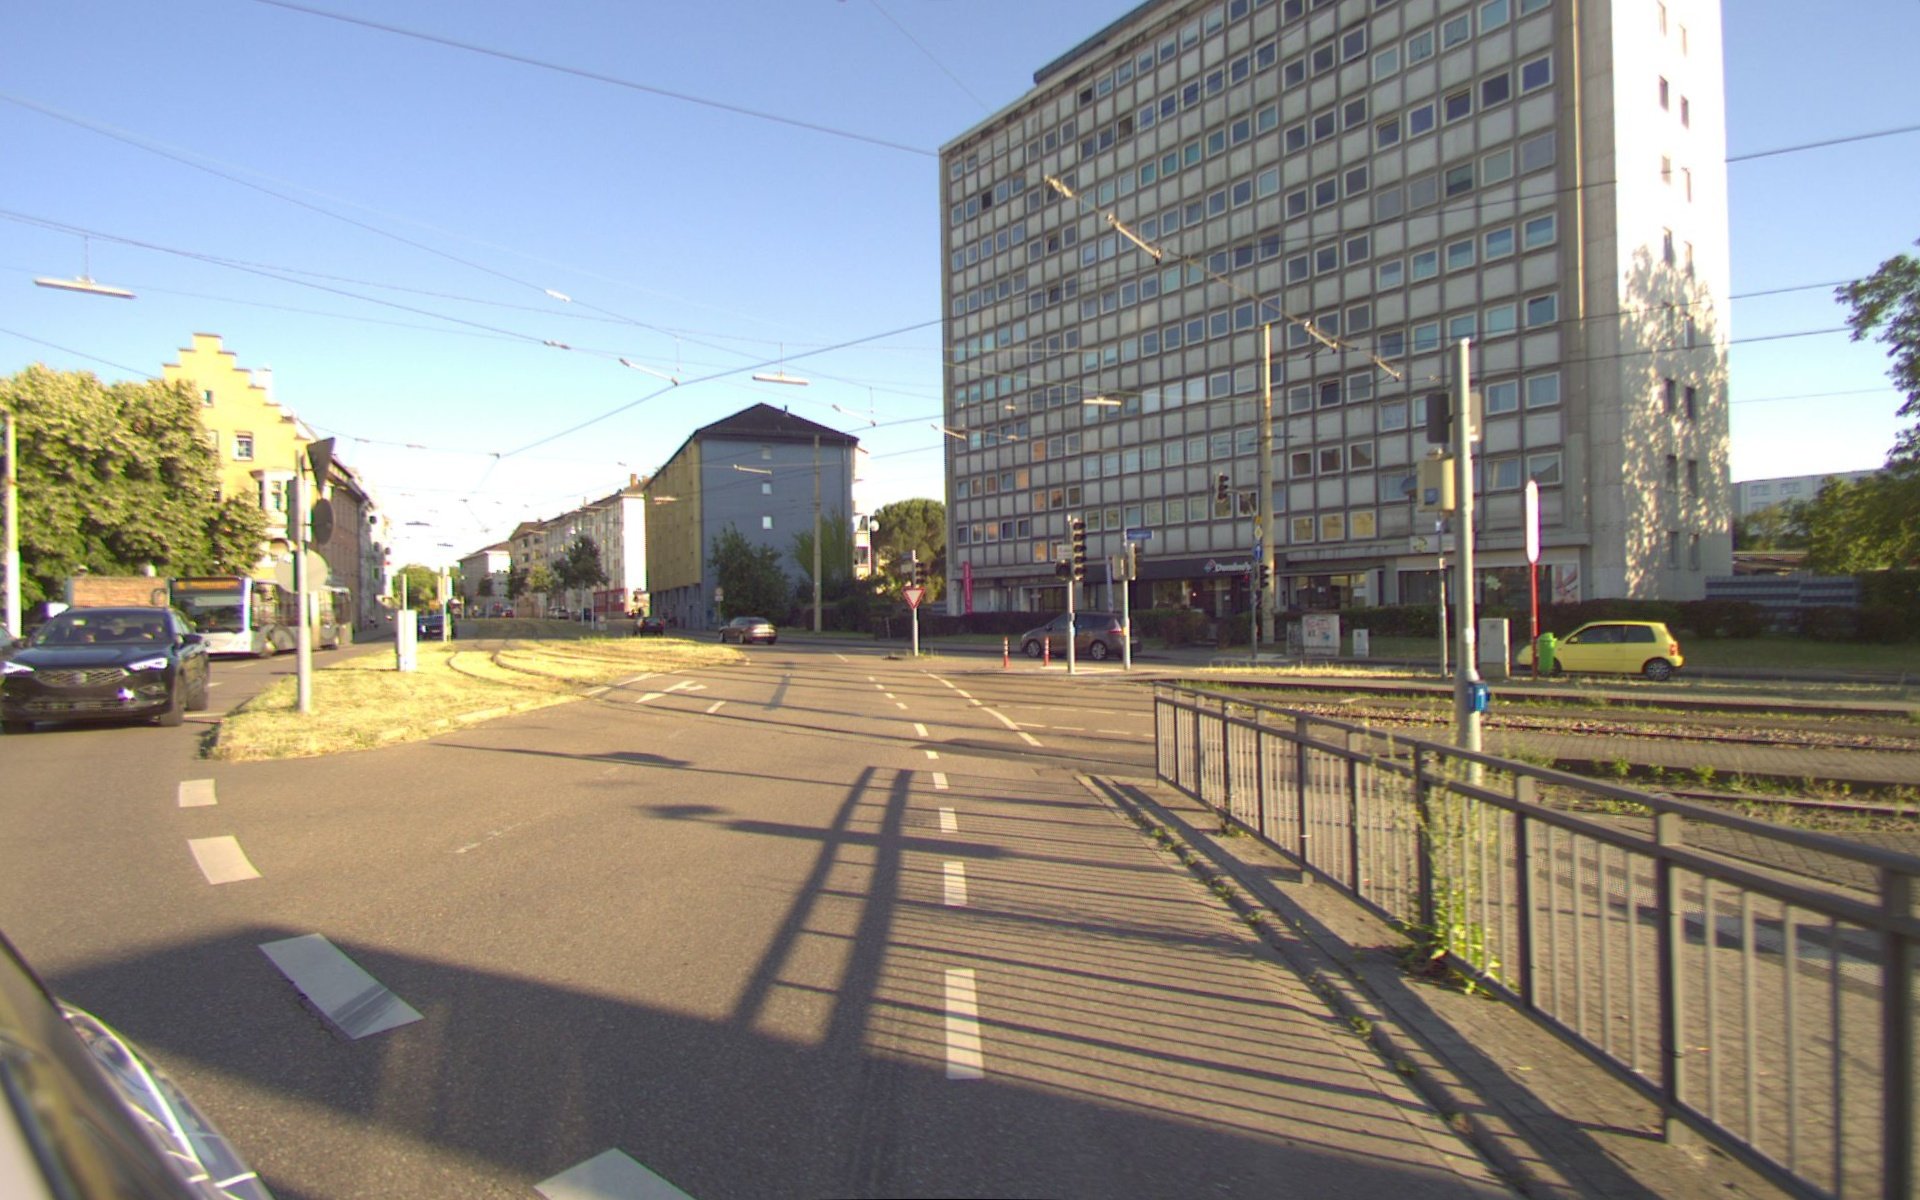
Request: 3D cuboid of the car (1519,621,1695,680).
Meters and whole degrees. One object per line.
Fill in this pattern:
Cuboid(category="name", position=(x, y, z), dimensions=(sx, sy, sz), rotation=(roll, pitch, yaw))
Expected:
Cuboid(category="car", position=(16.067, 1.212, 25.236), dimensions=(3.586, 1.350, 1.532), rotation=(-1, -1, 36))

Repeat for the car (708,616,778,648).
Cuboid(category="car", position=(-11.408, 1.647, 53.069), dimensions=(1.631, 1.608, 4.593), rotation=(0, 0, -40))

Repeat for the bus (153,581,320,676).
Cuboid(category="bus", position=(-27.470, 0.914, 39.047), dimensions=(2.686, 3.100, 10.635), rotation=(-2, 1, -22))

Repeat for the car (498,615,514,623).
Cuboid(category="car", position=(-82.874, 3.450, 184.834), dimensions=(1.769, 1.480, 4.808), rotation=(2, -1, -35))

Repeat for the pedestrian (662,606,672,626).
Cuboid(category="pedestrian", position=(-26.138, 1.456, 90.381), dimensions=(0.608, 1.707, 0.708), rotation=(-5, 1, -25))

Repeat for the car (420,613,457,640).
Cuboid(category="car", position=(-35.935, 1.793, 69.776), dimensions=(1.965, 1.785, 4.013), rotation=(1, -1, -23))

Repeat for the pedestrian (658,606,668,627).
Cuboid(category="pedestrian", position=(-26.259, 1.486, 89.389), dimensions=(0.585, 1.786, 0.888), rotation=(-5, 1, -25))

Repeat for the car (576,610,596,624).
Cuboid(category="car", position=(-45.906, 2.093, 124.154), dimensions=(1.891, 1.674, 4.724), rotation=(1, -2, -26))

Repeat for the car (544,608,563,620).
Cuboid(category="car", position=(-64.295, 2.270, 160.017), dimensions=(1.841, 1.843, 4.434), rotation=(0, -1, -33))

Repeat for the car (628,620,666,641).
Cuboid(category="car", position=(-23.535, 2.282, 76.018), dimensions=(1.751, 1.493, 4.413), rotation=(1, -1, -30))

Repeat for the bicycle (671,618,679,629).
Cuboid(category="bicycle", position=(-26.038, 2.117, 92.484), dimensions=(0.421, 0.932, 1.918), rotation=(-4, 1, -24))

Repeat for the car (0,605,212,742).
Cuboid(category="car", position=(-11.955, 0.923, 14.349), dimensions=(1.759, 1.636, 4.228), rotation=(1, -1, -31))

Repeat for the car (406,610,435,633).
Cuboid(category="car", position=(-45.501, 1.799, 85.415), dimensions=(1.860, 1.896, 4.013), rotation=(0, -1, -24))

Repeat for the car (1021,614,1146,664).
Cuboid(category="car", position=(4.225, 1.298, 35.012), dimensions=(4.150, 1.607, 1.564), rotation=(0, 0, 41))

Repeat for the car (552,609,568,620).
Cuboid(category="car", position=(-55.670, 1.988, 140.860), dimensions=(1.673, 1.471, 4.330), rotation=(1, -1, -27))

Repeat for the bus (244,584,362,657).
Cuboid(category="bus", position=(-31.504, 0.866, 49.029), dimensions=(2.667, 3.100, 10.635), rotation=(-2, 1, -22))

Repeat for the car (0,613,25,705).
Cuboid(category="car", position=(-17.265, 1.014, 16.784), dimensions=(1.742, 1.599, 4.080), rotation=(1, -2, -31))
